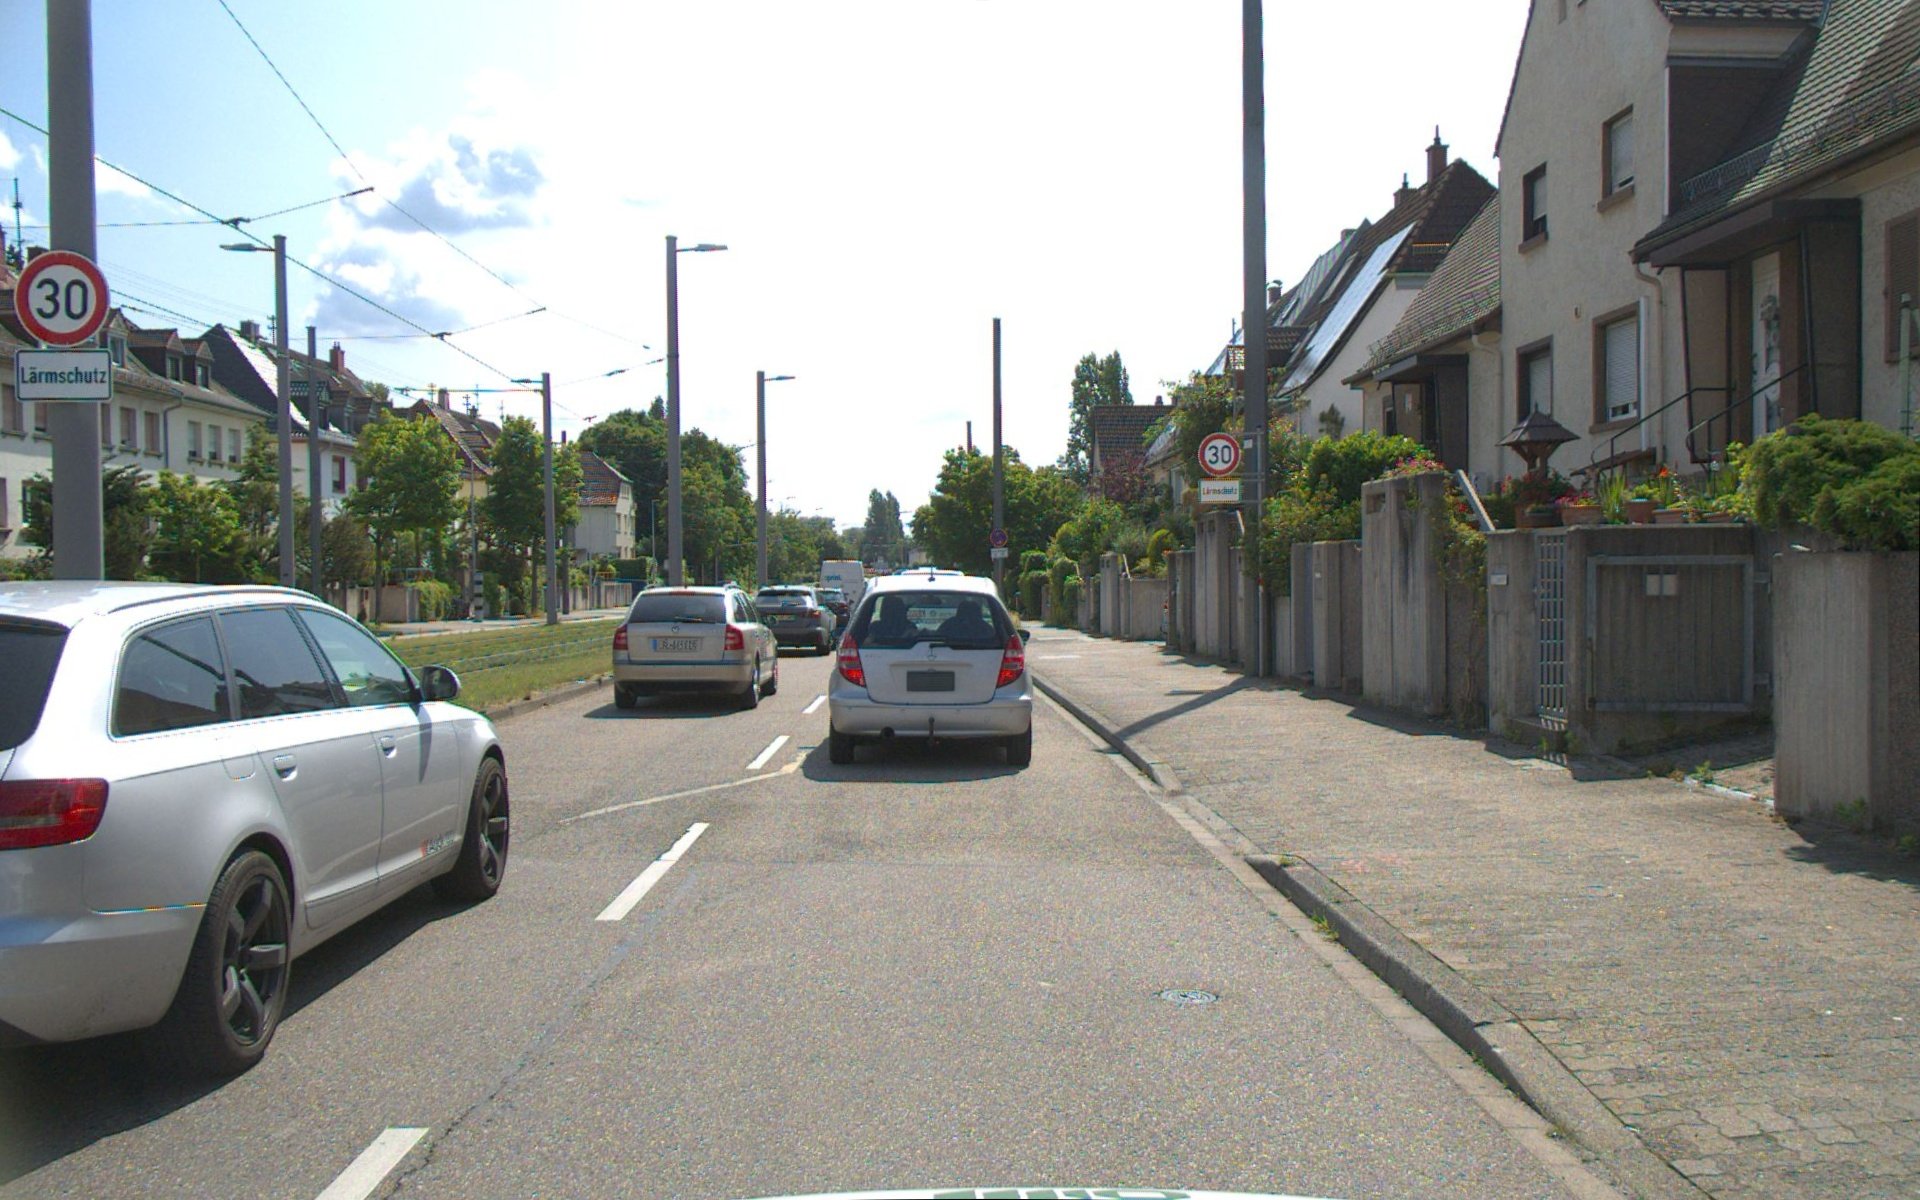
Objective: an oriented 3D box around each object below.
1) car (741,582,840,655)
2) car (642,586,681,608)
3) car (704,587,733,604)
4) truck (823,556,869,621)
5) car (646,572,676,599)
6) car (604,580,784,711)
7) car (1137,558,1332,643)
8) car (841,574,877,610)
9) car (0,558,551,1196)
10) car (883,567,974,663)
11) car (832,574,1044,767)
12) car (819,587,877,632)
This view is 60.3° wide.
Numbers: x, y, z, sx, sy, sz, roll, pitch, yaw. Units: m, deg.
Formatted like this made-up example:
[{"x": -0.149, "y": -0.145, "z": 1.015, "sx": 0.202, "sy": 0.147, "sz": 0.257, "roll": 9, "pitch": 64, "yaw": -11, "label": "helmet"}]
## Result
[{"x": -3.713, "y": 0.360, "z": 36.858, "sx": 1.878, "sy": 1.503, "sz": 4.560, "roll": 1, "pitch": 1, "yaw": -2, "label": "car"}, {"x": -20.975, "y": -0.212, "z": 116.415, "sx": 1.877, "sy": 1.503, "sz": 4.562, "roll": 1, "pitch": 1, "yaw": 0, "label": "car"}, {"x": -22.123, "y": -0.456, "z": 151.641, "sx": 1.877, "sy": 1.503, "sz": 4.562, "roll": 1, "pitch": 1, "yaw": 0, "label": "car"}, {"x": -4.750, "y": -0.477, "z": 69.311, "sx": 1.815, "sy": 2.597, "sz": 5.851, "roll": 1, "pitch": 0, "yaw": -3, "label": "truck"}, {"x": -27.021, "y": -1.337, "z": 149.667, "sx": 1.877, "sy": 2.371, "sz": 4.562, "roll": 1, "pitch": 1, "yaw": 0, "label": "car"}, {"x": -3.266, "y": 0.508, "z": 21.014, "sx": 1.696, "sy": 1.474, "sz": 4.122, "roll": 1, "pitch": 0, "yaw": -1, "label": "car"}, {"x": 6.118, "y": -0.009, "z": 37.189, "sx": 3.909, "sy": 1.713, "sz": 1.998, "roll": -2, "pitch": 1, "yaw": -5, "label": "car"}, {"x": -6.156, "y": -0.504, "z": 101.664, "sx": 1.877, "sy": 2.113, "sz": 4.562, "roll": 1, "pitch": 1, "yaw": 0, "label": "car"}, {"x": -2.966, "y": 0.629, "z": 6.223, "sx": 1.758, "sy": 1.497, "sz": 4.721, "roll": 0, "pitch": 0, "yaw": -1, "label": "car"}, {"x": -0.651, "y": 0.267, "z": 33.208, "sx": 1.695, "sy": 1.793, "sz": 4.015, "roll": 1, "pitch": 0, "yaw": -2, "label": "car"}, {"x": -0.264, "y": 0.558, "z": 15.386, "sx": 1.695, "sy": 1.543, "sz": 4.014, "roll": 1, "pitch": 0, "yaw": -3, "label": "car"}, {"x": -3.664, "y": 0.277, "z": 54.433, "sx": 1.815, "sy": 1.412, "sz": 4.511, "roll": 1, "pitch": 0, "yaw": -3, "label": "car"}]
